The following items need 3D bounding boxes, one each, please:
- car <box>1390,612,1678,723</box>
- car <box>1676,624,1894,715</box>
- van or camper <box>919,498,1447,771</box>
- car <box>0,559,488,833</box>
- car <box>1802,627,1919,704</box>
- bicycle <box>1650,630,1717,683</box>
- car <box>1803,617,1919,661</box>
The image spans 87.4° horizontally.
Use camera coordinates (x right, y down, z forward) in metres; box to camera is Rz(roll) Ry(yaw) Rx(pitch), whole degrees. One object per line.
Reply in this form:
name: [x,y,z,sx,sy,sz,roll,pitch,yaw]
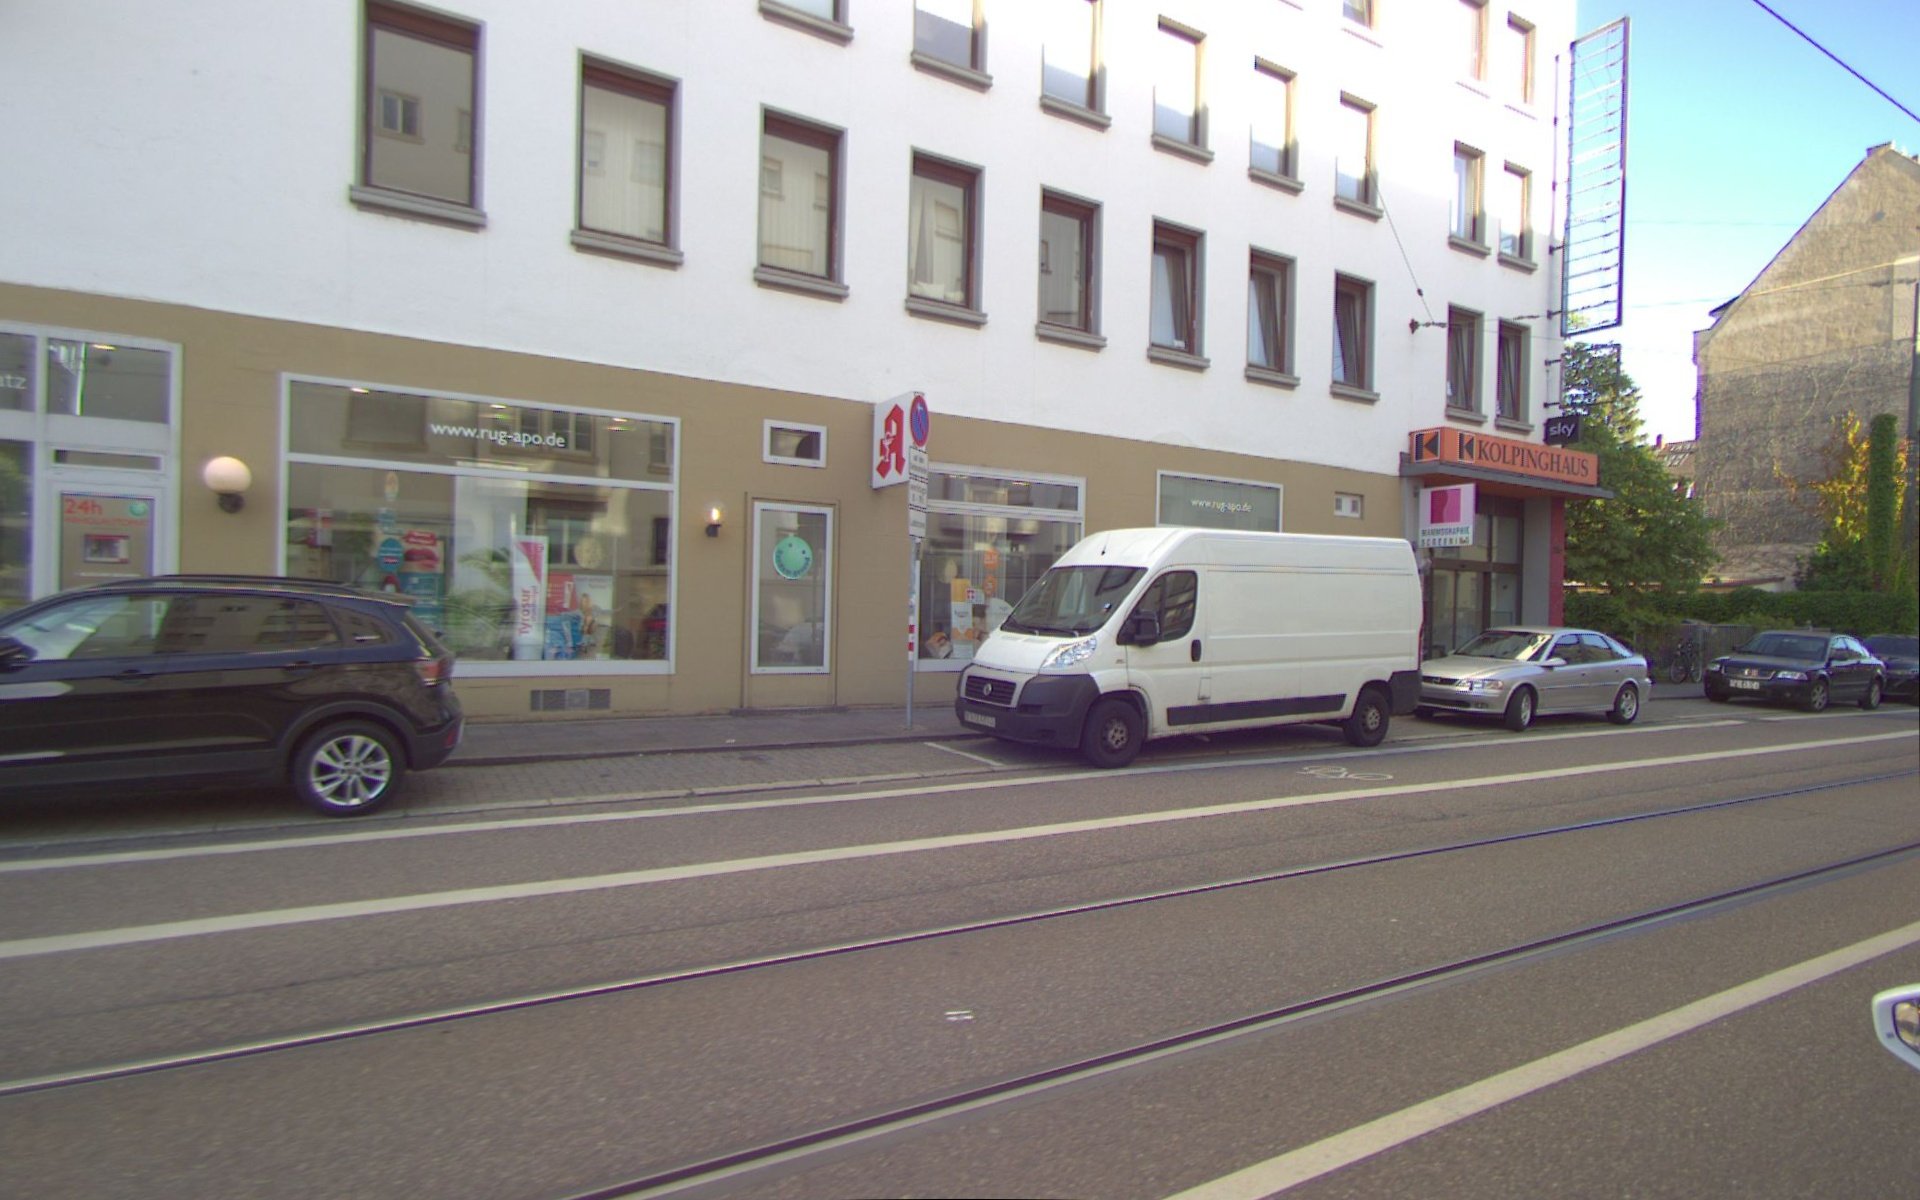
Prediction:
car: [8.828,0.976,15.370,4.391,1.417,1.775,2,2,-29]
car: [16.106,1.295,19.548,4.646,1.501,1.774,2,2,-31]
van or camper: [2.767,0.355,11.725,6.161,2.500,2.160,2,2,-31]
car: [-5.507,0.562,6.948,3.944,1.573,1.775,2,2,-29]
car: [21.112,1.434,22.601,4.785,1.465,1.774,2,2,-30]
bicycle: [16.910,1.310,23.458,2.026,1.190,0.437,2,0,-30]
car: [35.141,1.480,37.897,4.708,1.538,1.997,2,0,27]
